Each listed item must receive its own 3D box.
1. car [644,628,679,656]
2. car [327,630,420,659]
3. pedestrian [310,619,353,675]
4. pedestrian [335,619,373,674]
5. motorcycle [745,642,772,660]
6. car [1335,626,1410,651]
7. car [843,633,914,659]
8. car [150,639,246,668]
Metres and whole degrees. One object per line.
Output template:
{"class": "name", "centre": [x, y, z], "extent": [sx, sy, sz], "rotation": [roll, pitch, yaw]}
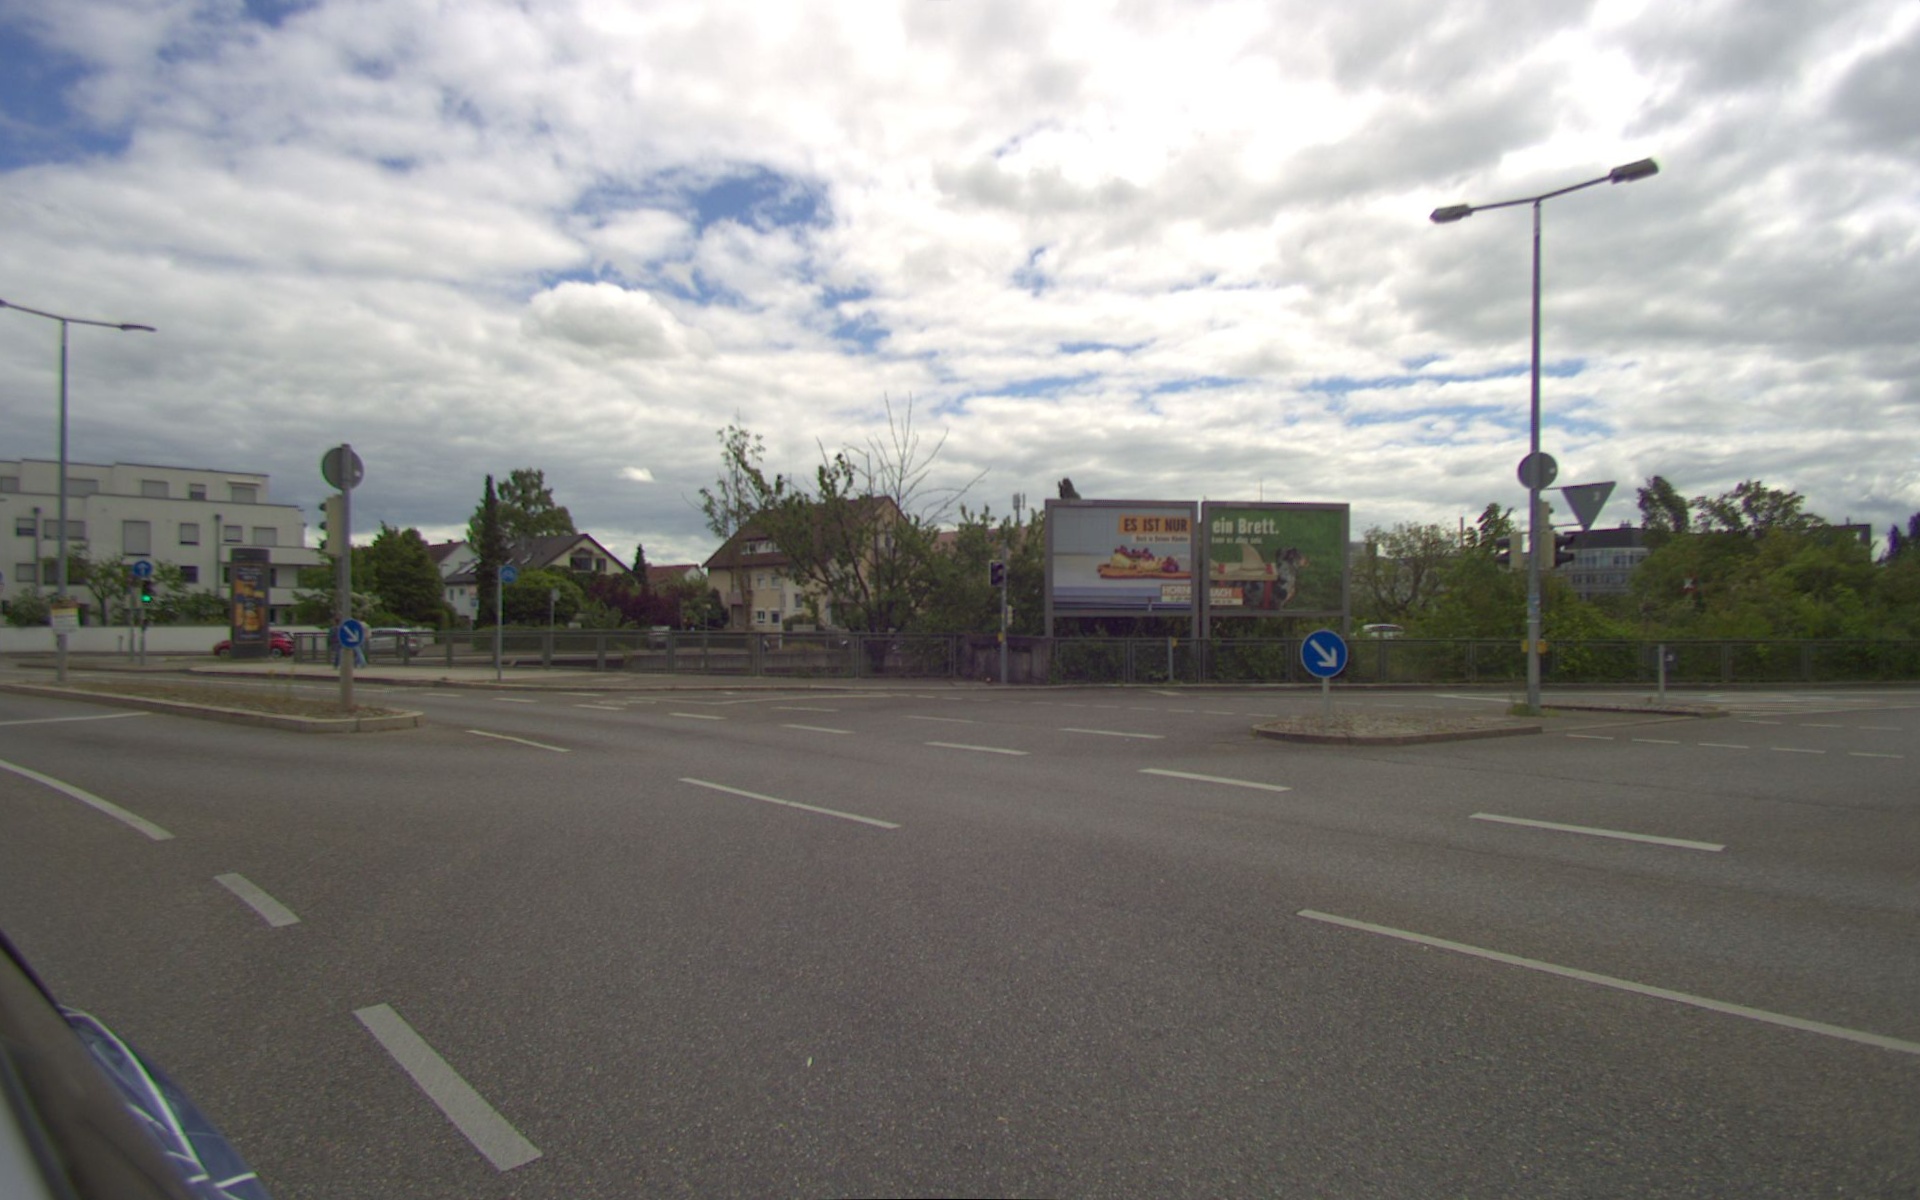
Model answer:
{"class": "car", "centre": [-20.040, 2.805, 68.030], "extent": [1.758, 1.592, 4.009], "rotation": [-3, 1, -10]}
{"class": "car", "centre": [-32.151, 2.461, 55.585], "extent": [4.061, 1.547, 1.651], "rotation": [1, -3, -13]}
{"class": "pedestrian", "centre": [-19.131, 1.425, 30.807], "extent": [1.065, 1.645, 0.652], "rotation": [-1, 0, 26]}
{"class": "pedestrian", "centre": [-18.820, 1.438, 31.451], "extent": [0.828, 1.645, 0.652], "rotation": [-1, 0, 26]}
{"class": "motorcycle", "centre": [-12.703, 3.210, 63.830], "extent": [0.692, 1.007, 2.125], "rotation": [6, -5, -39]}
{"class": "car", "centre": [27.813, 2.579, 68.257], "extent": [4.304, 1.619, 1.904], "rotation": [0, -2, -11]}
{"class": "car", "centre": [-5.261, 2.926, 64.798], "extent": [4.305, 1.619, 2.004], "rotation": [0, -2, -11]}
{"class": "car", "centre": [-40.458, 2.826, 53.785], "extent": [3.640, 1.458, 1.780], "rotation": [1, -2, -15]}
